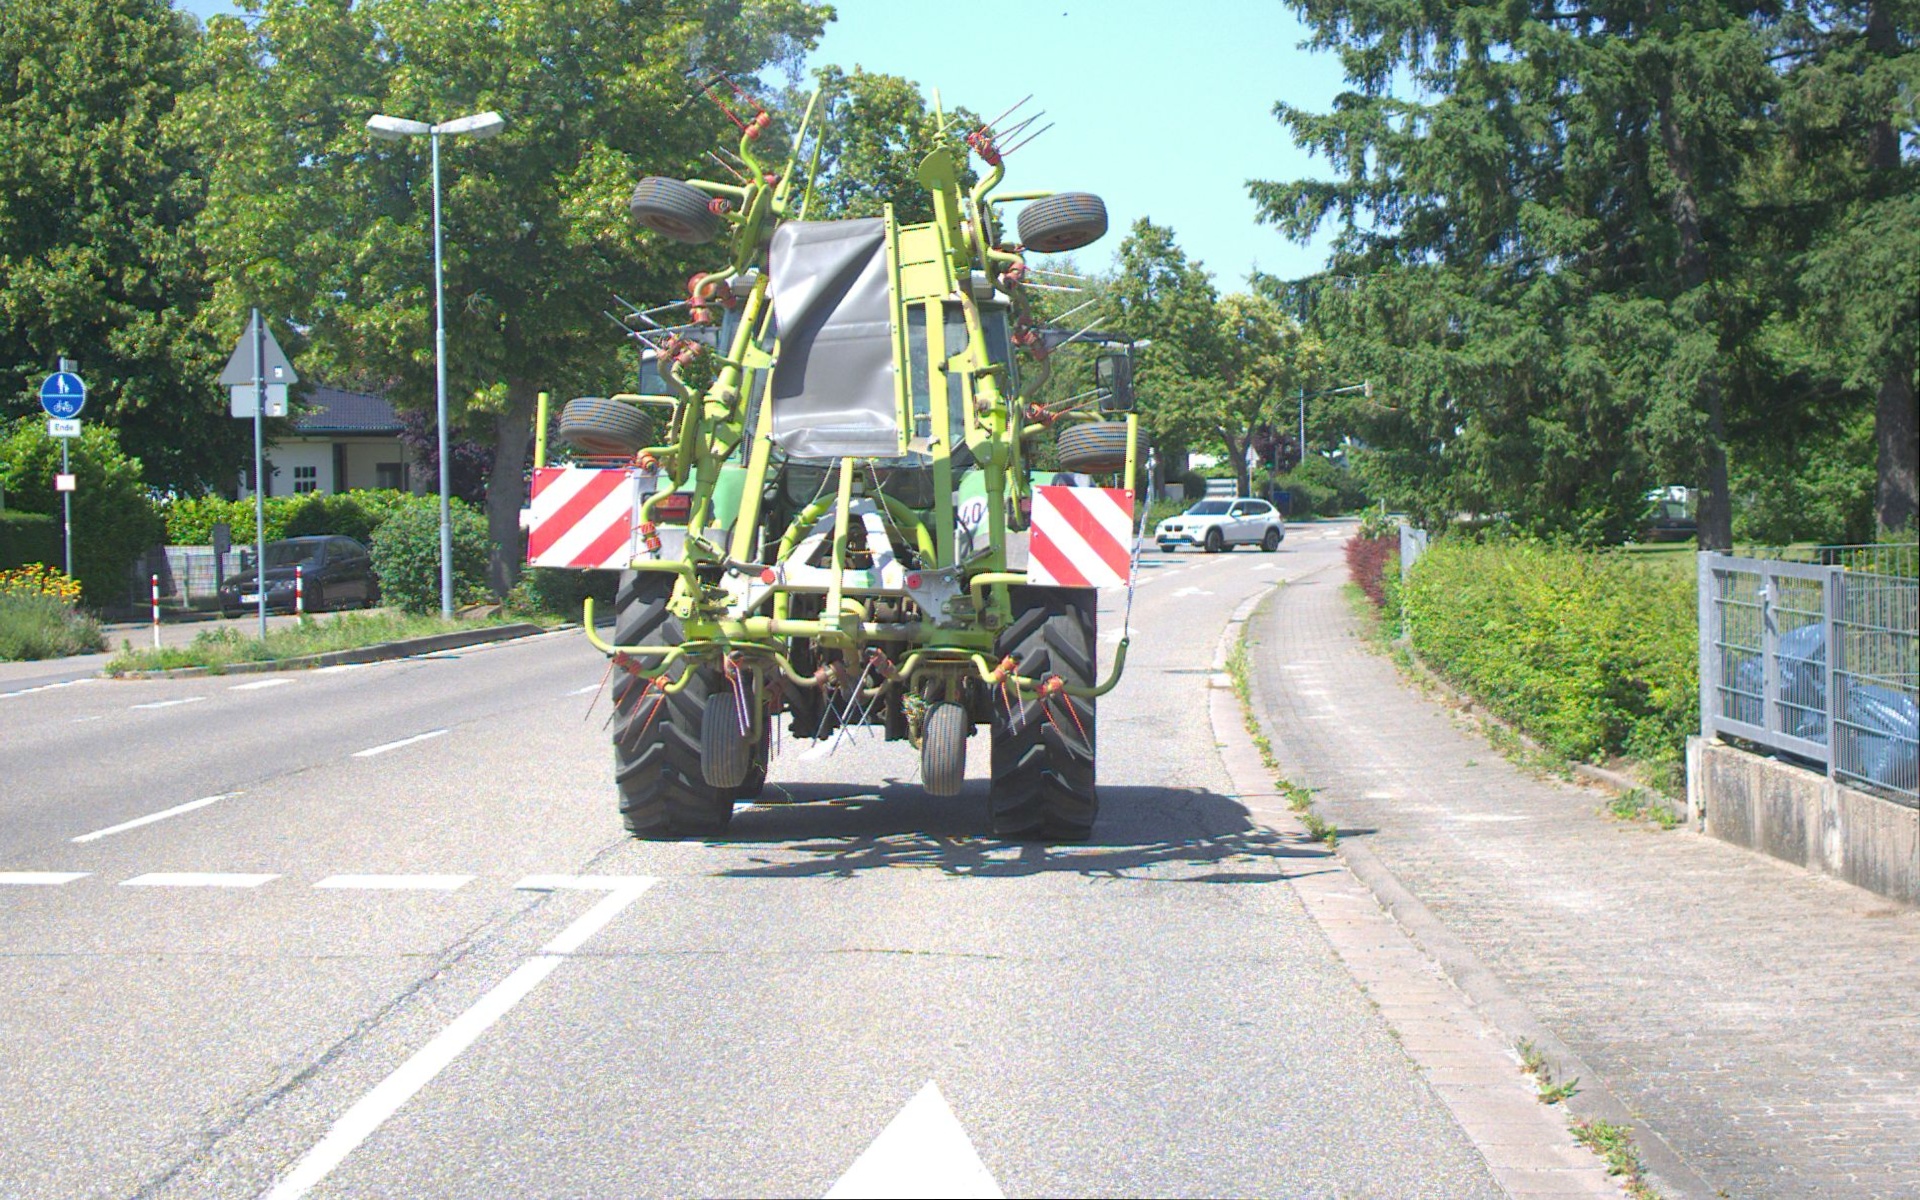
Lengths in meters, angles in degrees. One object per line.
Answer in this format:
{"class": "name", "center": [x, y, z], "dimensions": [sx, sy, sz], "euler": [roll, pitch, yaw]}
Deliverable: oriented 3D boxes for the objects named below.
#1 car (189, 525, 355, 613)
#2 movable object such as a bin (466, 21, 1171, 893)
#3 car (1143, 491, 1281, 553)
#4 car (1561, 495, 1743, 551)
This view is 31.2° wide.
{"class": "car", "center": [-12.411, -0.595, 62.243], "dimensions": [1.689, 1.525, 3.999], "euler": [0, 1, 8]}
{"class": "movable object such as a bin", "center": [-0.403, -0.685, 18.854], "dimensions": [2.853, 3.529, 9.700], "euler": [0, 1, 2]}
{"class": "car", "center": [7.131, -2.214, 97.063], "dimensions": [1.861, 1.709, 3.991], "euler": [1, 2, 41]}
{"class": "car", "center": [16.159, -1.805, 80.319], "dimensions": [3.810, 1.290, 1.684], "euler": [0, 2, -9]}
